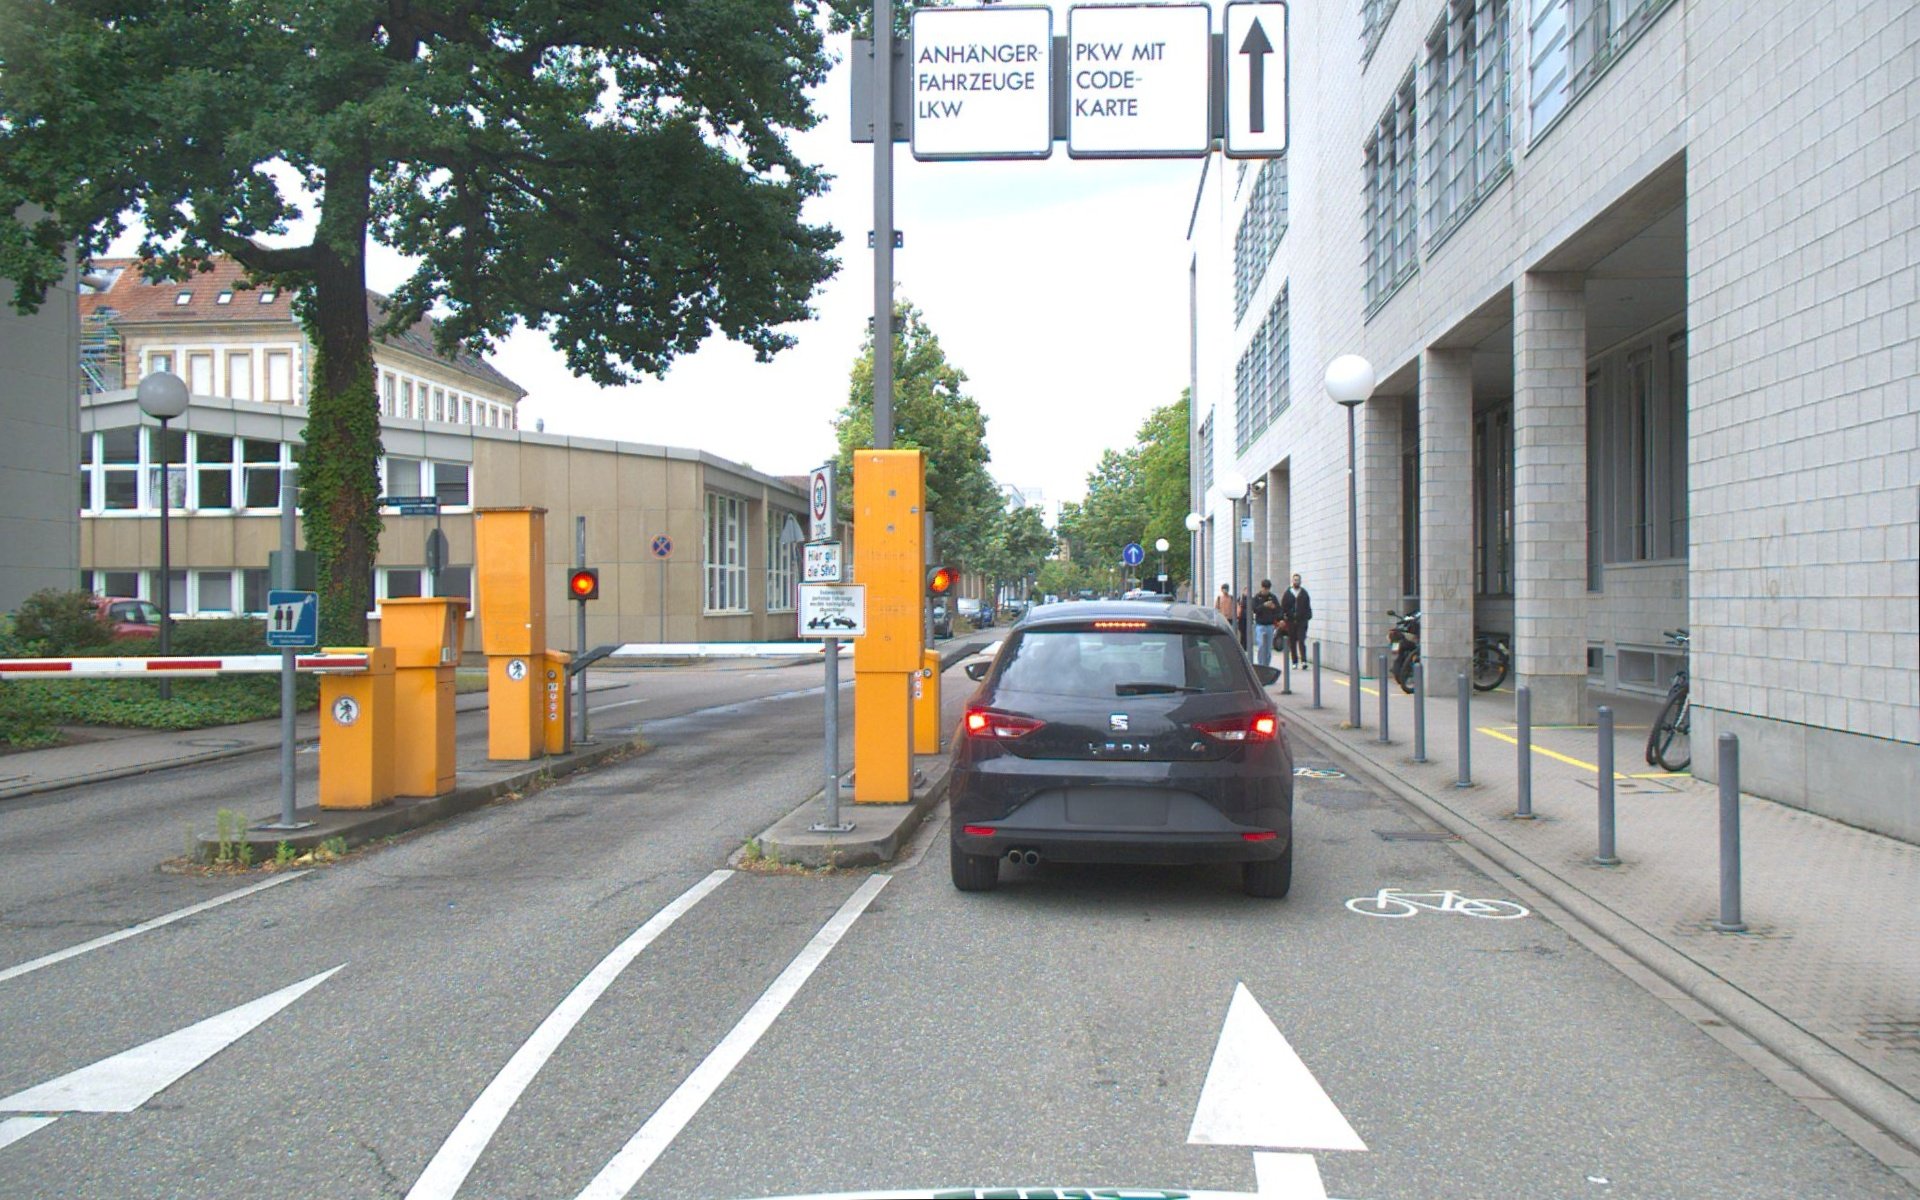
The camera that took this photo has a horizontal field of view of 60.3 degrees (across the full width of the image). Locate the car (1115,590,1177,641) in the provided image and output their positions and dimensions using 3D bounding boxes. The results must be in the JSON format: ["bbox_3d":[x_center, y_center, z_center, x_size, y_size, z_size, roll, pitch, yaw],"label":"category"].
[{"bbox_3d":[6.386,0.511,57.243,1.951,1.651,4.431,-2,0,5],"label":"car"}]

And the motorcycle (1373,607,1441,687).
[{"bbox_3d":[7.332,0.742,27.053,0.555,1.168,2.214,2,3,29],"label":"motorcycle"}]

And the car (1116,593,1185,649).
[{"bbox_3d":[6.014,0.672,52.725,1.952,1.651,4.430,-1,-1,4],"label":"car"}]

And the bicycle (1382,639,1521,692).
[{"bbox_3d":[7.085,0.939,23.883,1.857,0.711,0.493,0,2,1],"label":"bicycle"}]

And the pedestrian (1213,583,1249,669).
[{"bbox_3d":[5.569,0.529,33.976,0.682,1.744,0.489,0,0,2],"label":"pedestrian"}]

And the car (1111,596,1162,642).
[{"bbox_3d":[7.367,0.777,69.382,1.951,1.813,4.430,-2,0,4],"label":"car"}]

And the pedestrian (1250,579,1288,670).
[{"bbox_3d":[5.984,0.472,32.060,0.675,1.728,0.589,1,2,7],"label":"pedestrian"}]

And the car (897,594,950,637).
[{"bbox_3d":[-1.401,0.584,65.394,1.733,1.629,4.002,0,0,4],"label":"car"}]

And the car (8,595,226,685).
[{"bbox_3d":[-15.641,0.695,30.940,1.824,1.557,4.002,0,0,4],"label":"car"}]

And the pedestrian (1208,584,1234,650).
[{"bbox_3d":[6.877,0.440,43.640,0.681,1.744,0.490,0,0,9],"label":"pedestrian"}]

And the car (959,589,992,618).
[{"bbox_3d":[0.901,0.196,93.612,1.733,1.629,4.001,0,0,3],"label":"car"}]

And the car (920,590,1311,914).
[{"bbox_3d":[0.839,0.665,9.476,1.745,1.444,4.132,0,0,4],"label":"car"}]

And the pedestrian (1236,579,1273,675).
[{"bbox_3d":[5.458,0.489,30.632,0.598,1.744,0.575,-1,0,6],"label":"pedestrian"}]

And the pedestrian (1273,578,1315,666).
[{"bbox_3d":[6.692,0.429,33.167,0.713,1.728,0.588,0,2,-1],"label":"pedestrian"}]

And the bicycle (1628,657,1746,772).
[{"bbox_3d":[6.102,0.927,13.816,0.454,0.764,2.288,-5,-2,34],"label":"bicycle"}]

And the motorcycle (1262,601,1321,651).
[{"bbox_3d":[8.758,0.665,43.591,0.745,1.168,2.659,2,3,29],"label":"motorcycle"}]

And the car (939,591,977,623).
[{"bbox_3d":[-0.085,0.350,88.168,1.733,1.629,4.002,0,0,4],"label":"car"}]
